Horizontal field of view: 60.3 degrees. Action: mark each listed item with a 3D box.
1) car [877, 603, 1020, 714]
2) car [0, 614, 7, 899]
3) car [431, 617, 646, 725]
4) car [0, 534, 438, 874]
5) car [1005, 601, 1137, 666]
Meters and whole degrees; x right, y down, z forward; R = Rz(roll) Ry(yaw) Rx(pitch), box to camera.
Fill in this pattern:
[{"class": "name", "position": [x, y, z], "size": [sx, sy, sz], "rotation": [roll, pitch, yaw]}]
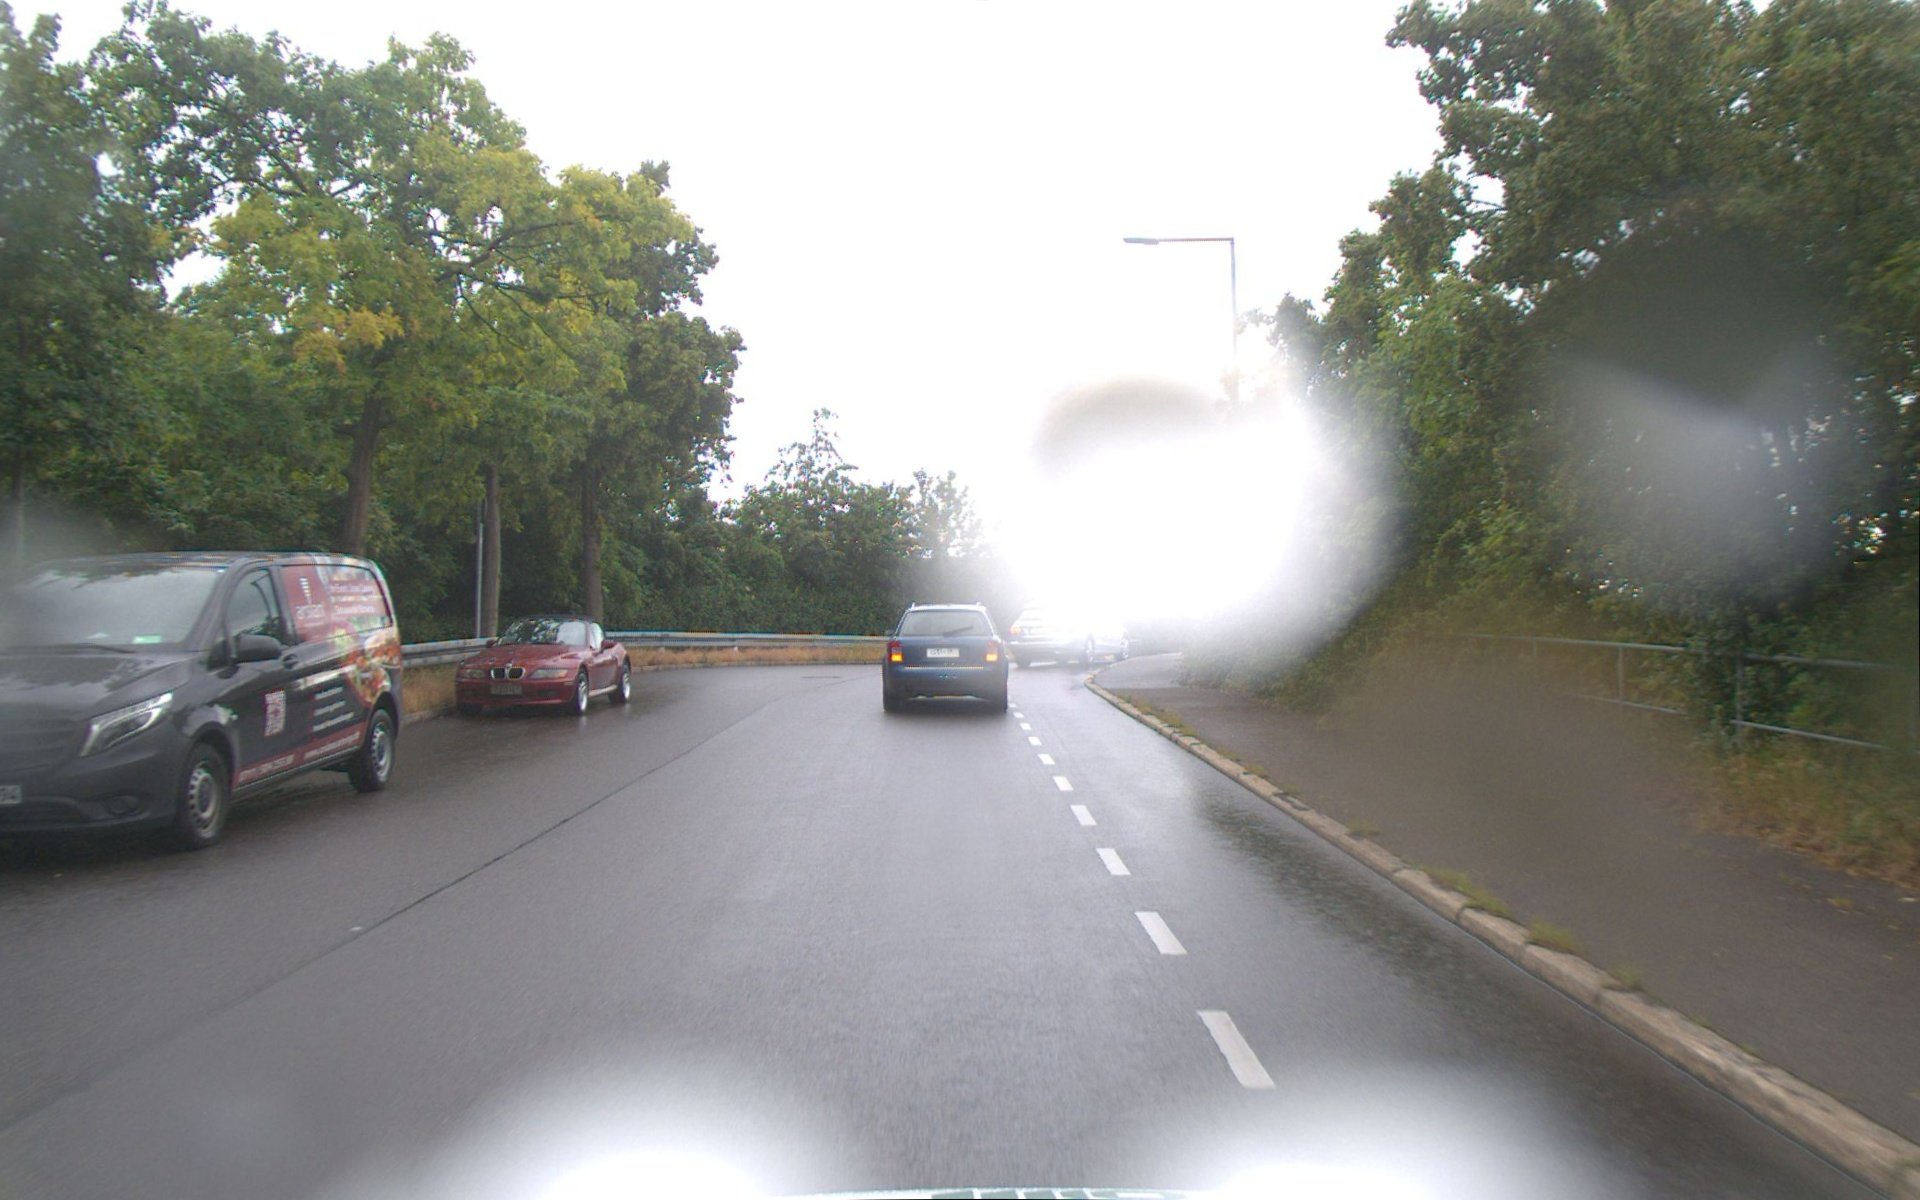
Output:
[{"class": "car", "position": [-0.080, 0.815, 23.473], "size": [1.710, 1.432, 4.001], "rotation": [0, -2, 4]}, {"class": "car", "position": [-5.772, 0.805, 6.402], "size": [1.761, 1.463, 4.254], "rotation": [-1, -1, -1]}, {"class": "car", "position": [-5.755, 0.928, 23.124], "size": [1.752, 1.320, 4.326], "rotation": [-1, -1, 2]}, {"class": "car", "position": [-5.614, 0.608, 11.775], "size": [2.041, 1.851, 5.380], "rotation": [-1, -1, 0]}, {"class": "car", "position": [2.621, 0.759, 38.193], "size": [1.852, 1.413, 3.999], "rotation": [-1, -1, 23]}]
